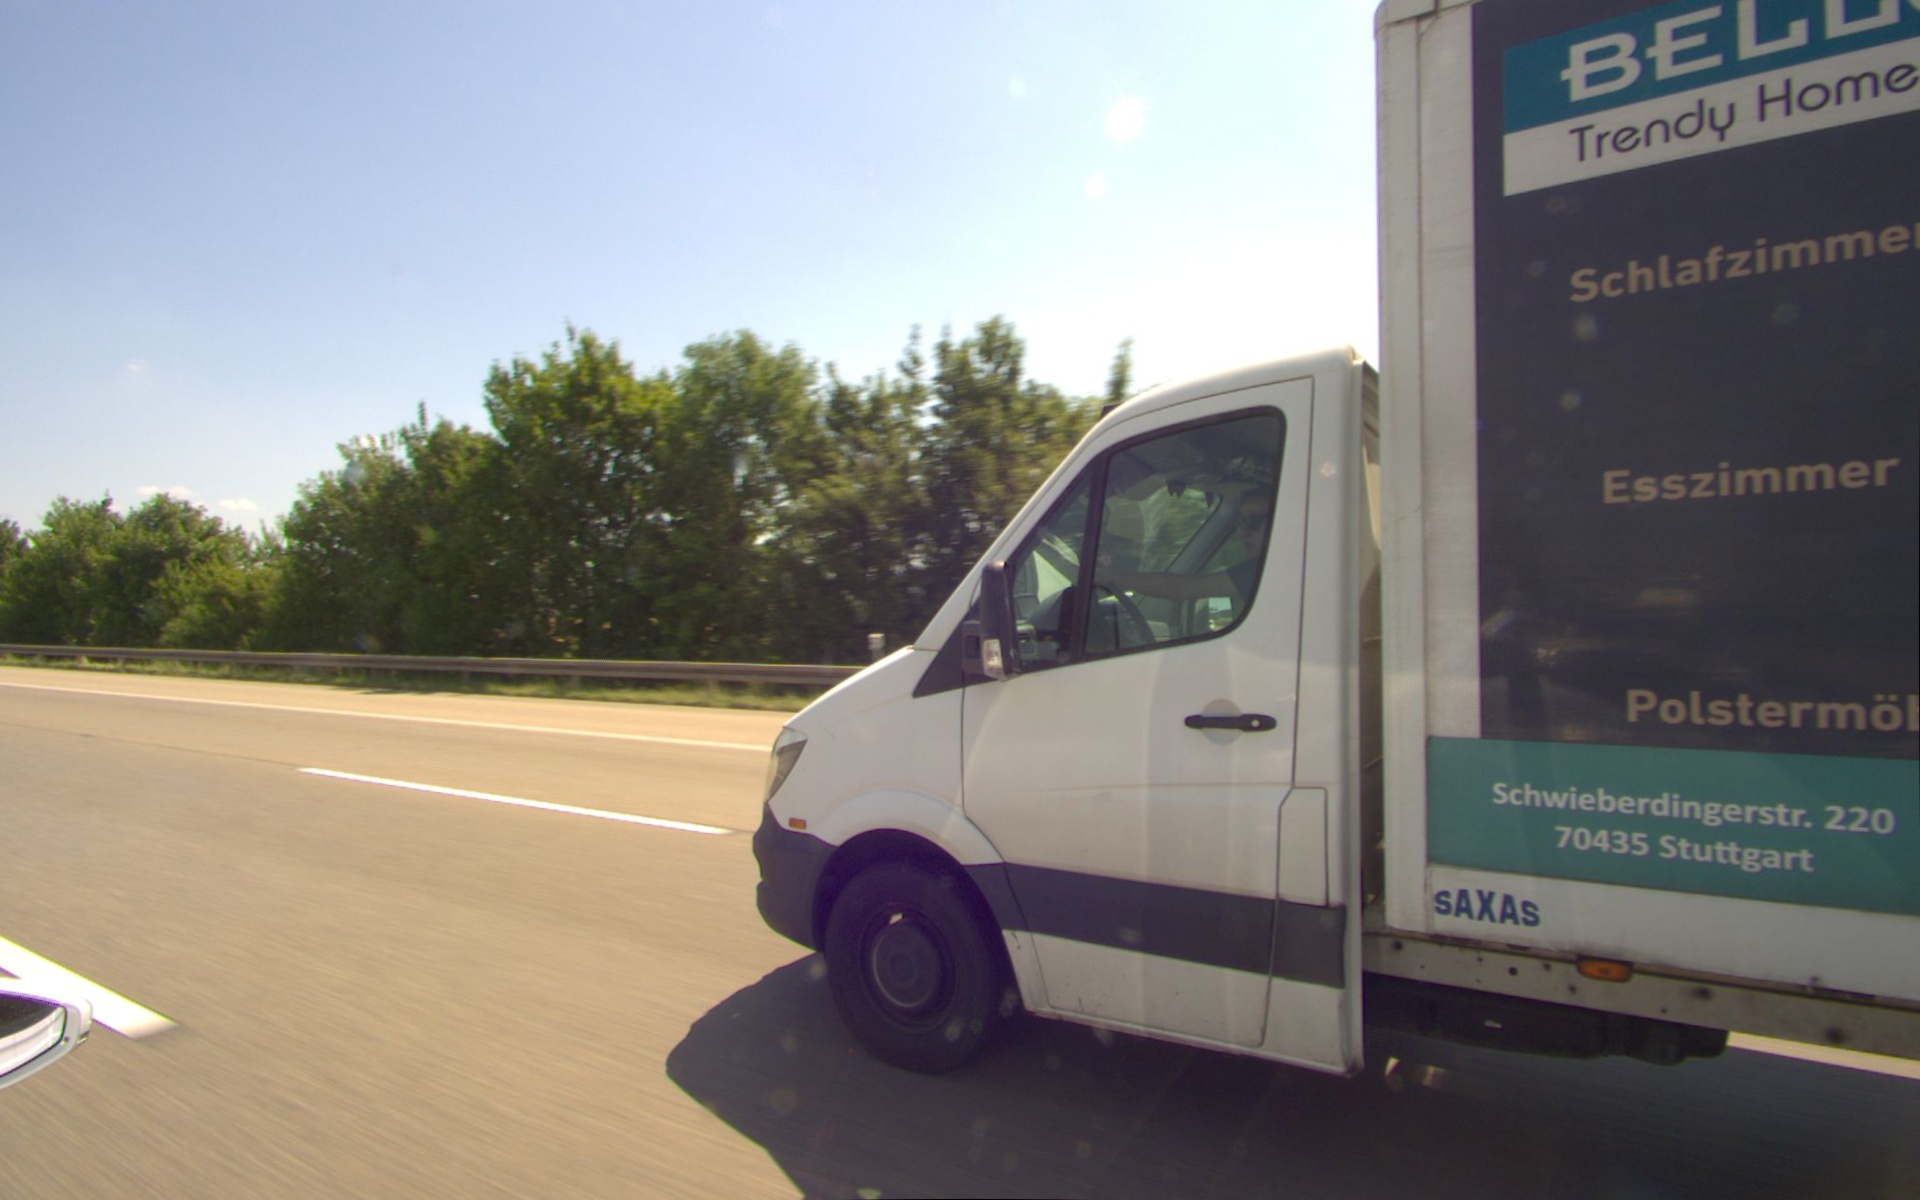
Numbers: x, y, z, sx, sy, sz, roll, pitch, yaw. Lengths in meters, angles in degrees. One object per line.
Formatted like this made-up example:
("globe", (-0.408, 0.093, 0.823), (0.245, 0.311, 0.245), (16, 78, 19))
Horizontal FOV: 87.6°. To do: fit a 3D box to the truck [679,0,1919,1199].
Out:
("truck", (2.433, -0.021, 2.775), (6.654, 3.107, 2.317), (0, -1, 32))
